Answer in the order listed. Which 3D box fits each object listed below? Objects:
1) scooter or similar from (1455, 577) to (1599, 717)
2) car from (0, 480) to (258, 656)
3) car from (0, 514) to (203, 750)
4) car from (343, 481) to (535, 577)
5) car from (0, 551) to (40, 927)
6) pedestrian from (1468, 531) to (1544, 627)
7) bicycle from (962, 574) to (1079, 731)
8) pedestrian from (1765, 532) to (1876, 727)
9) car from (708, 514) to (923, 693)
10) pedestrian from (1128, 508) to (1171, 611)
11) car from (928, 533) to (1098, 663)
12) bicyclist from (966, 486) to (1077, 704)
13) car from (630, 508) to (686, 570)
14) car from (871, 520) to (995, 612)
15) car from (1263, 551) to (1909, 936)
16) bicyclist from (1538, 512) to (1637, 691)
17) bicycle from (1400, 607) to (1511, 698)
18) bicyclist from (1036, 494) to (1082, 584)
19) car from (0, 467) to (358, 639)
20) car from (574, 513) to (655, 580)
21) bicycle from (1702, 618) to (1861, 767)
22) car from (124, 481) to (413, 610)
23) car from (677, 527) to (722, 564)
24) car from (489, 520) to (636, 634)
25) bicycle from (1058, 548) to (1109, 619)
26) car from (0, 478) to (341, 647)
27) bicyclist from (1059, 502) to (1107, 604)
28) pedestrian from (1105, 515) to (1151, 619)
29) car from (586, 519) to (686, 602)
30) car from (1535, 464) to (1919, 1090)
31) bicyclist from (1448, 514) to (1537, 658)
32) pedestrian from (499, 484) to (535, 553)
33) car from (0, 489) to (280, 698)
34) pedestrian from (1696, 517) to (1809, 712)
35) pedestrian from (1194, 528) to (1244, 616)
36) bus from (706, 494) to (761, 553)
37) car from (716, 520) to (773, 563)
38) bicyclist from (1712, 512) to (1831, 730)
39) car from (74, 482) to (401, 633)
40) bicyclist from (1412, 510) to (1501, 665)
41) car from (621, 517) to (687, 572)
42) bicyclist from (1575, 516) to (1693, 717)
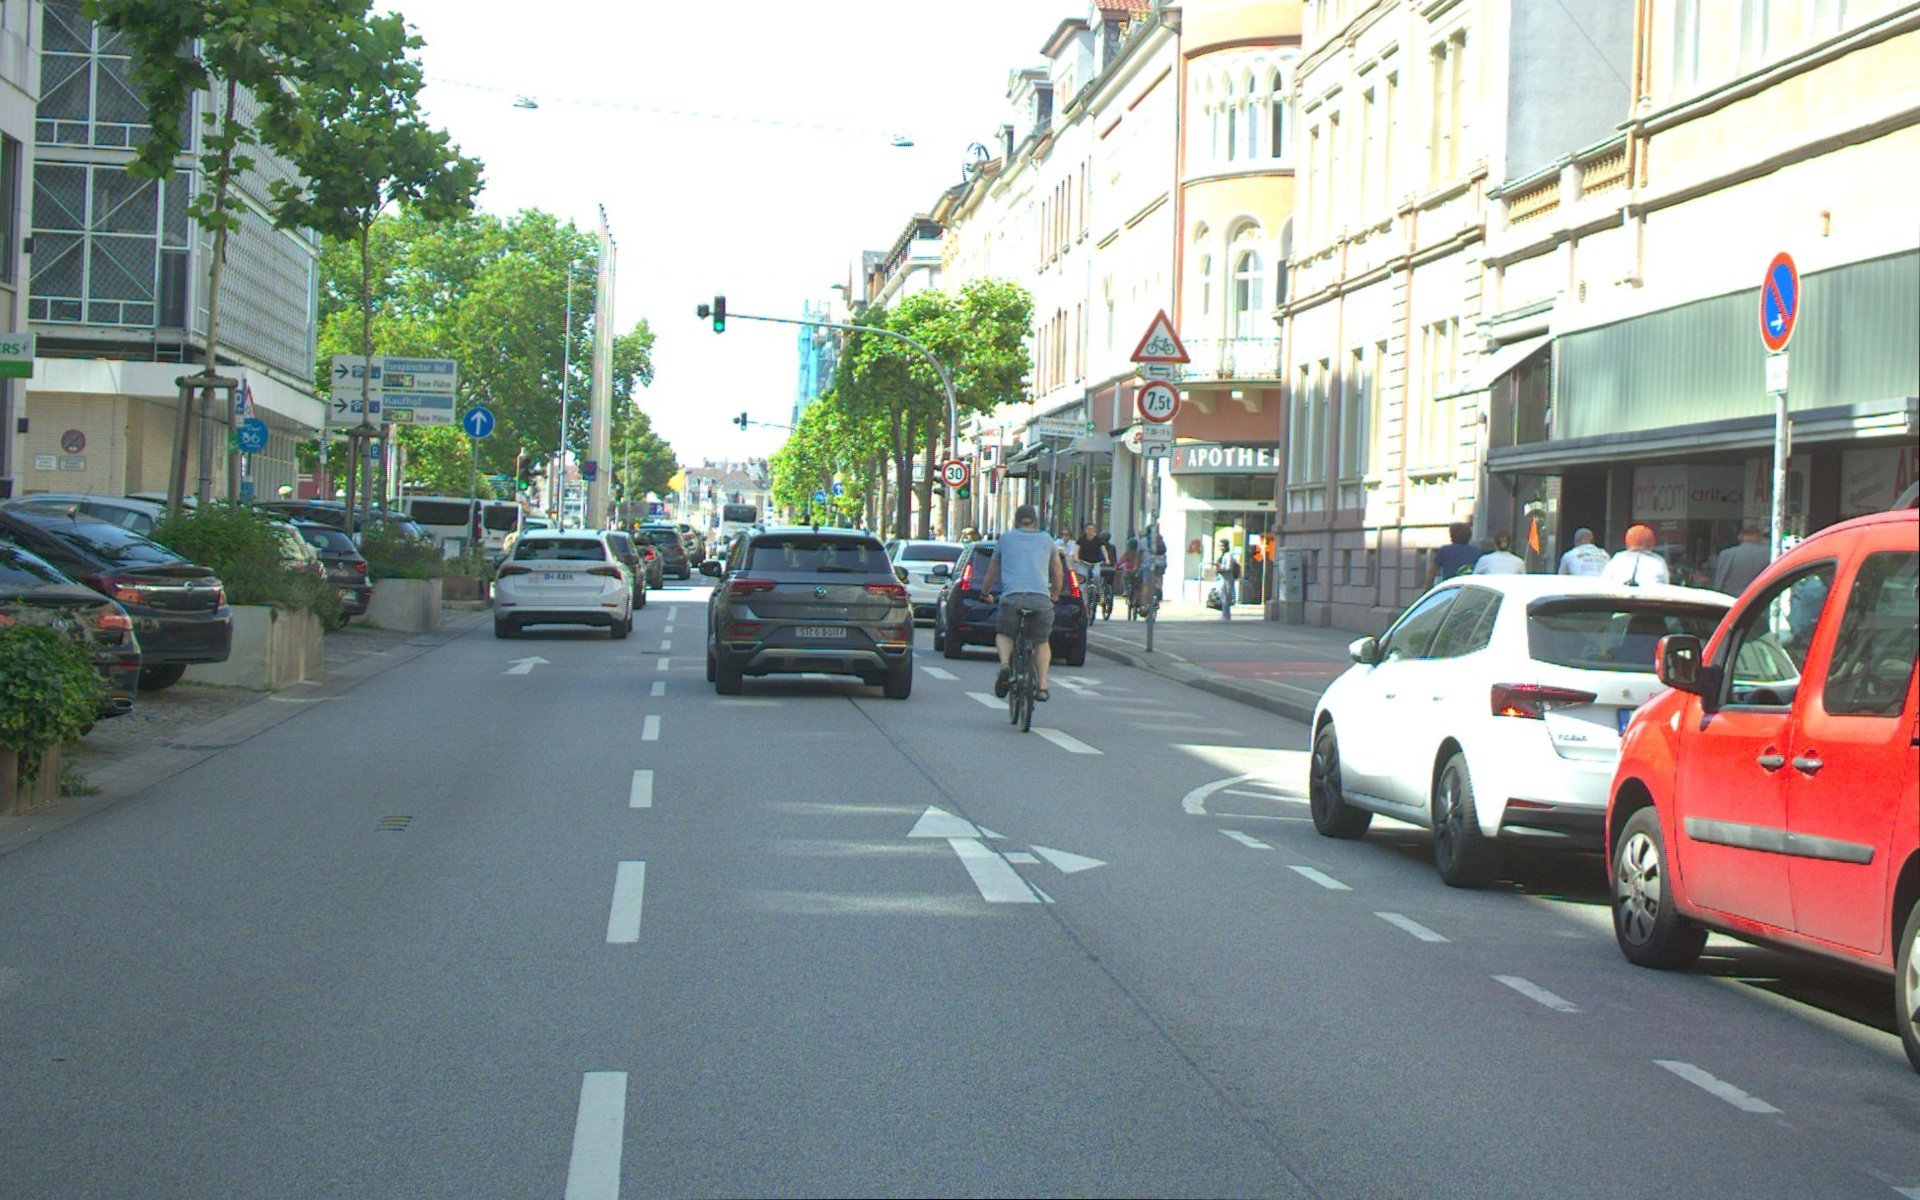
[{"bbox_3d":[4.786,0.380,29.129,0.870,1.118,1.621,1,1,-3],"label":"scooter or similar"},{"bbox_3d":[-9.277,-0.416,34.922,3.986,1.495,1.718,6,0,-8],"label":"car"},{"bbox_3d":[-7.408,0.077,23.298,4.647,1.403,1.902,5,2,39],"label":"car"},{"bbox_3d":[-13.410,-1.841,88.347,4.719,1.996,1.937,6,0,36],"label":"car"},{"bbox_3d":[-6.023,0.360,13.716,4.792,1.417,1.879,5,2,36],"label":"car"},{"bbox_3d":[7.283,-0.286,45.865,0.936,1.264,0.567,0,1,2],"label":"pedestrian"},{"bbox_3d":[0.464,0.397,27.592,0.664,1.116,2.244,4,2,-4],"label":"bicycle"},{"bbox_3d":[7.587,0.249,30.341,0.647,1.679,0.944,2,1,-3],"label":"pedestrian"},{"bbox_3d":[-1.413,-0.009,32.127,1.833,1.522,4.001,2,1,-4],"label":"car"},{"bbox_3d":[3.388,-0.728,61.574,0.652,1.803,0.729,2,1,-1],"label":"pedestrian"},{"bbox_3d":[0.631,-0.054,43.532,1.822,1.404,3.187,4,2,-4],"label":"car"},{"bbox_3d":[0.485,-0.052,27.496,0.694,1.667,0.916,4,2,-3],"label":"bicyclist"},{"bbox_3d":[-10.633,-2.135,121.070,1.862,2.023,4.001,2,0,-5],"label":"car"},{"bbox_3d":[-0.490,-0.590,57.414,1.822,1.380,4.001,2,2,-3],"label":"car"},{"bbox_3d":[2.940,0.600,17.266,1.812,1.461,4.582,4,2,-7],"label":"car"},{"bbox_3d":[5.721,0.010,31.379,0.658,1.589,0.920,2,1,-2],"label":"bicyclist"},{"bbox_3d":[5.195,0.540,36.176,0.740,0.876,2.138,2,1,-3],"label":"bicycle"},{"bbox_3d":[1.940,-1.202,67.224,0.694,1.667,0.836,5,3,-4],"label":"bicyclist"},{"bbox_3d":[-9.488,-0.570,41.316,3.992,1.563,1.698,7,1,21],"label":"car"},{"bbox_3d":[-7.874,-1.247,78.643,1.743,1.436,4.001,2,1,-5],"label":"car"},{"bbox_3d":[6.087,0.664,25.573,0.563,0.993,2.103,2,1,-3],"label":"bicycle"},{"bbox_3d":[-10.331,-0.819,51.603,3.986,1.495,1.718,6,0,-6],"label":"car"},{"bbox_3d":[-11.718,-2.430,154.416,1.863,1.436,4.000,-3,0,-5],"label":"car"},{"bbox_3d":[-5.342,-0.341,46.580,1.862,1.436,4.001,1,1,-6],"label":"car"},{"bbox_3d":[2.108,-0.293,58.850,0.555,1.116,2.244,4,2,-4],"label":"bicycle"},{"bbox_3d":[-9.092,-0.437,37.807,3.990,1.485,1.782,6,1,13],"label":"car"},{"bbox_3d":[2.093,-0.794,58.547,0.694,1.668,0.835,2,-2,-3],"label":"bicyclist"},{"bbox_3d":[3.123,-0.623,63.910,0.709,1.893,1.152,2,1,-1],"label":"pedestrian"},{"bbox_3d":[-5.969,-0.748,63.547,1.743,1.436,4.001,2,1,-5],"label":"car"},{"bbox_3d":[3.586,0.533,11.837,1.827,1.857,4.355,4,1,-8],"label":"car"},{"bbox_3d":[4.723,-0.129,30.515,0.623,1.244,0.608,2,1,-3],"label":"bicyclist"},{"bbox_3d":[-10.543,-1.928,81.759,0.612,1.610,0.550,2,-1,-34],"label":"pedestrian"},{"bbox_3d":[-8.017,-0.152,28.517,4.347,1.508,1.830,5,1,26],"label":"car"},{"bbox_3d":[7.132,0.122,30.976,0.878,1.712,0.835,2,1,9],"label":"pedestrian"},{"bbox_3d":[5.119,-0.559,68.033,0.791,1.714,0.730,1,1,-9],"label":"pedestrian"},{"bbox_3d":[-14.442,-4.854,218.806,2.769,3.592,8.976,2,1,-8],"label":"bus"},{"bbox_3d":[-7.578,-2.054,120.552,1.862,1.436,4.001,2,1,-5],"label":"car"},{"bbox_3d":[6.071,0.146,25.753,0.582,1.589,0.920,2,1,-2],"label":"bicyclist"},{"bbox_3d":[-9.395,-0.559,44.602,3.995,1.454,1.667,8,1,33],"label":"car"},{"bbox_3d":[5.219,-0.145,36.202,0.709,1.589,0.963,2,1,-2],"label":"bicyclist"},{"bbox_3d":[-8.476,-1.550,95.341,1.743,1.436,4.001,2,1,-5],"label":"car"},{"bbox_3d":[5.077,0.115,25.937,0.625,1.471,0.889,2,1,-3],"label":"bicyclist"}]
